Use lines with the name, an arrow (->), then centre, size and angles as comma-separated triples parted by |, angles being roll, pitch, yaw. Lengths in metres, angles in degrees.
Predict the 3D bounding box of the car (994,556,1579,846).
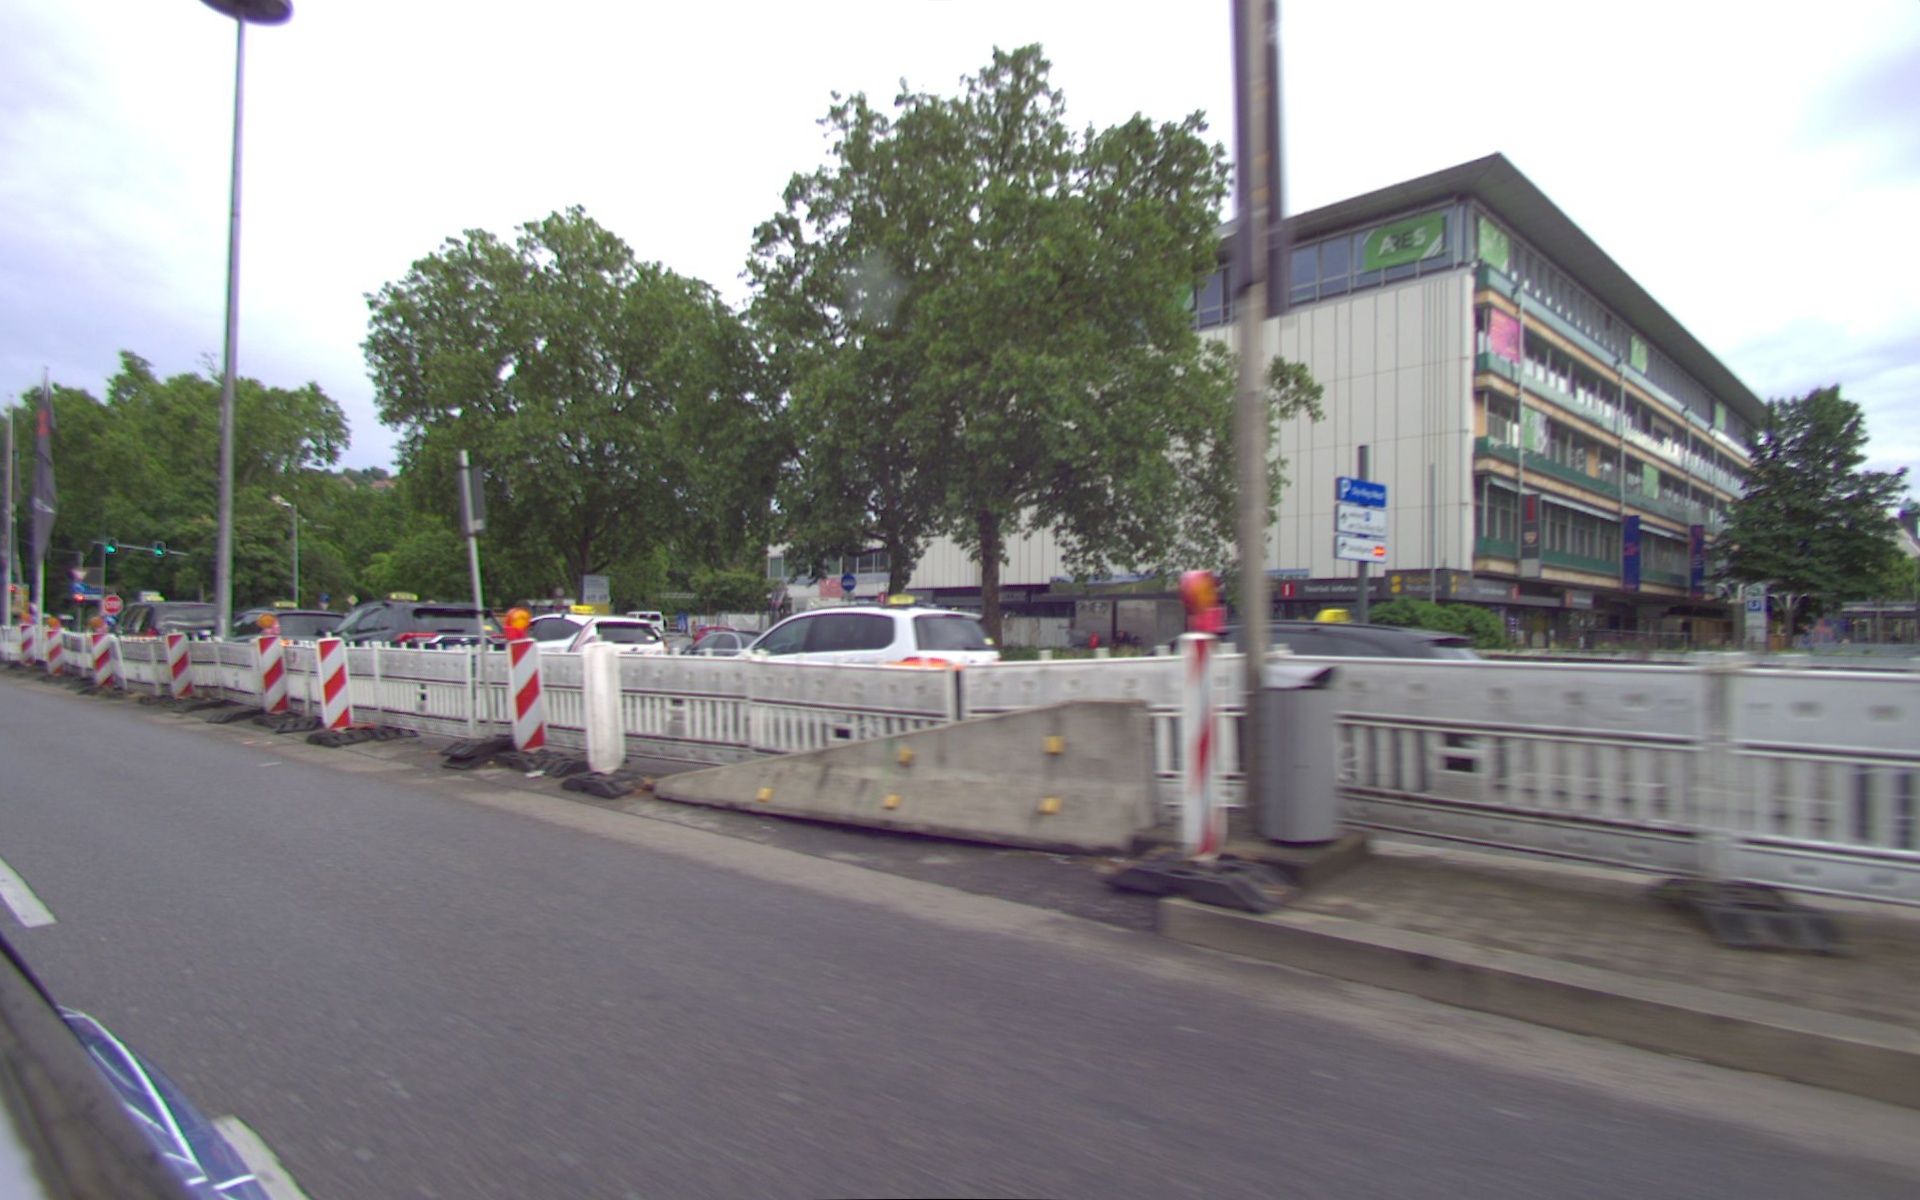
car -> 2.635, 0.723, 8.934 | 4.523, 1.912, 1.882 | -2, -1, 43

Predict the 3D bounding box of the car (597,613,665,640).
car -> -24.771, 1.998, 76.229 | 4.751, 2.029, 2.042 | 1, -2, -18

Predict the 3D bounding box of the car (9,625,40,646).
car -> -73.383, 2.798, 79.398 | 1.659, 1.554, 3.175 | 3, -4, -44

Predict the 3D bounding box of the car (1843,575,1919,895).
car -> 7.194, 0.664, 4.759 | 4.500, 1.712, 1.882 | -2, -1, 43

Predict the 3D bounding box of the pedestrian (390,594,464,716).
pedestrian -> -9.165, 0.921, 17.397 | 0.821, 2.029, 0.867 | -1, -2, 39

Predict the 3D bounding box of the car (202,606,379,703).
car -> -13.960, 1.106, 20.984 | 4.810, 1.784, 1.972 | -2, -3, 43

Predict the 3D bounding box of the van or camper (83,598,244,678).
van or camper -> -20.289, 0.980, 25.694 | 5.384, 1.833, 1.927 | -1, -4, 38

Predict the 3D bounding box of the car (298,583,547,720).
car -> -8.529, 0.790, 15.846 | 4.810, 1.831, 1.972 | -2, -4, 43

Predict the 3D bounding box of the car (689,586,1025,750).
car -> -1.455, 0.814, 12.911 | 4.483, 1.735, 1.764 | -2, -4, 43

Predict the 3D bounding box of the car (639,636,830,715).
car -> -4.888, 1.537, 21.721 | 3.996, 1.453, 1.974 | -1, -1, 39

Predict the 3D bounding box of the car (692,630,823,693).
car -> -5.956, 1.727, 29.498 | 1.969, 1.630, 4.005 | 0, -1, -42

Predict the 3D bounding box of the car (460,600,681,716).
car -> -7.233, 1.030, 18.568 | 4.565, 1.866, 1.894 | -2, -3, 42

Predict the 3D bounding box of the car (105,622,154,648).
car -> -56.728, 2.405, 69.092 | 4.818, 1.644, 1.972 | -2, -1, 43

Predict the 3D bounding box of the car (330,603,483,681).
car -> -13.455, 0.997, 24.497 | 4.420, 1.715, 1.870 | -2, -1, 42

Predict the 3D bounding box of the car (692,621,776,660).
car -> -10.597, 1.884, 47.713 | 3.685, 1.554, 1.856 | -2, 1, -8
